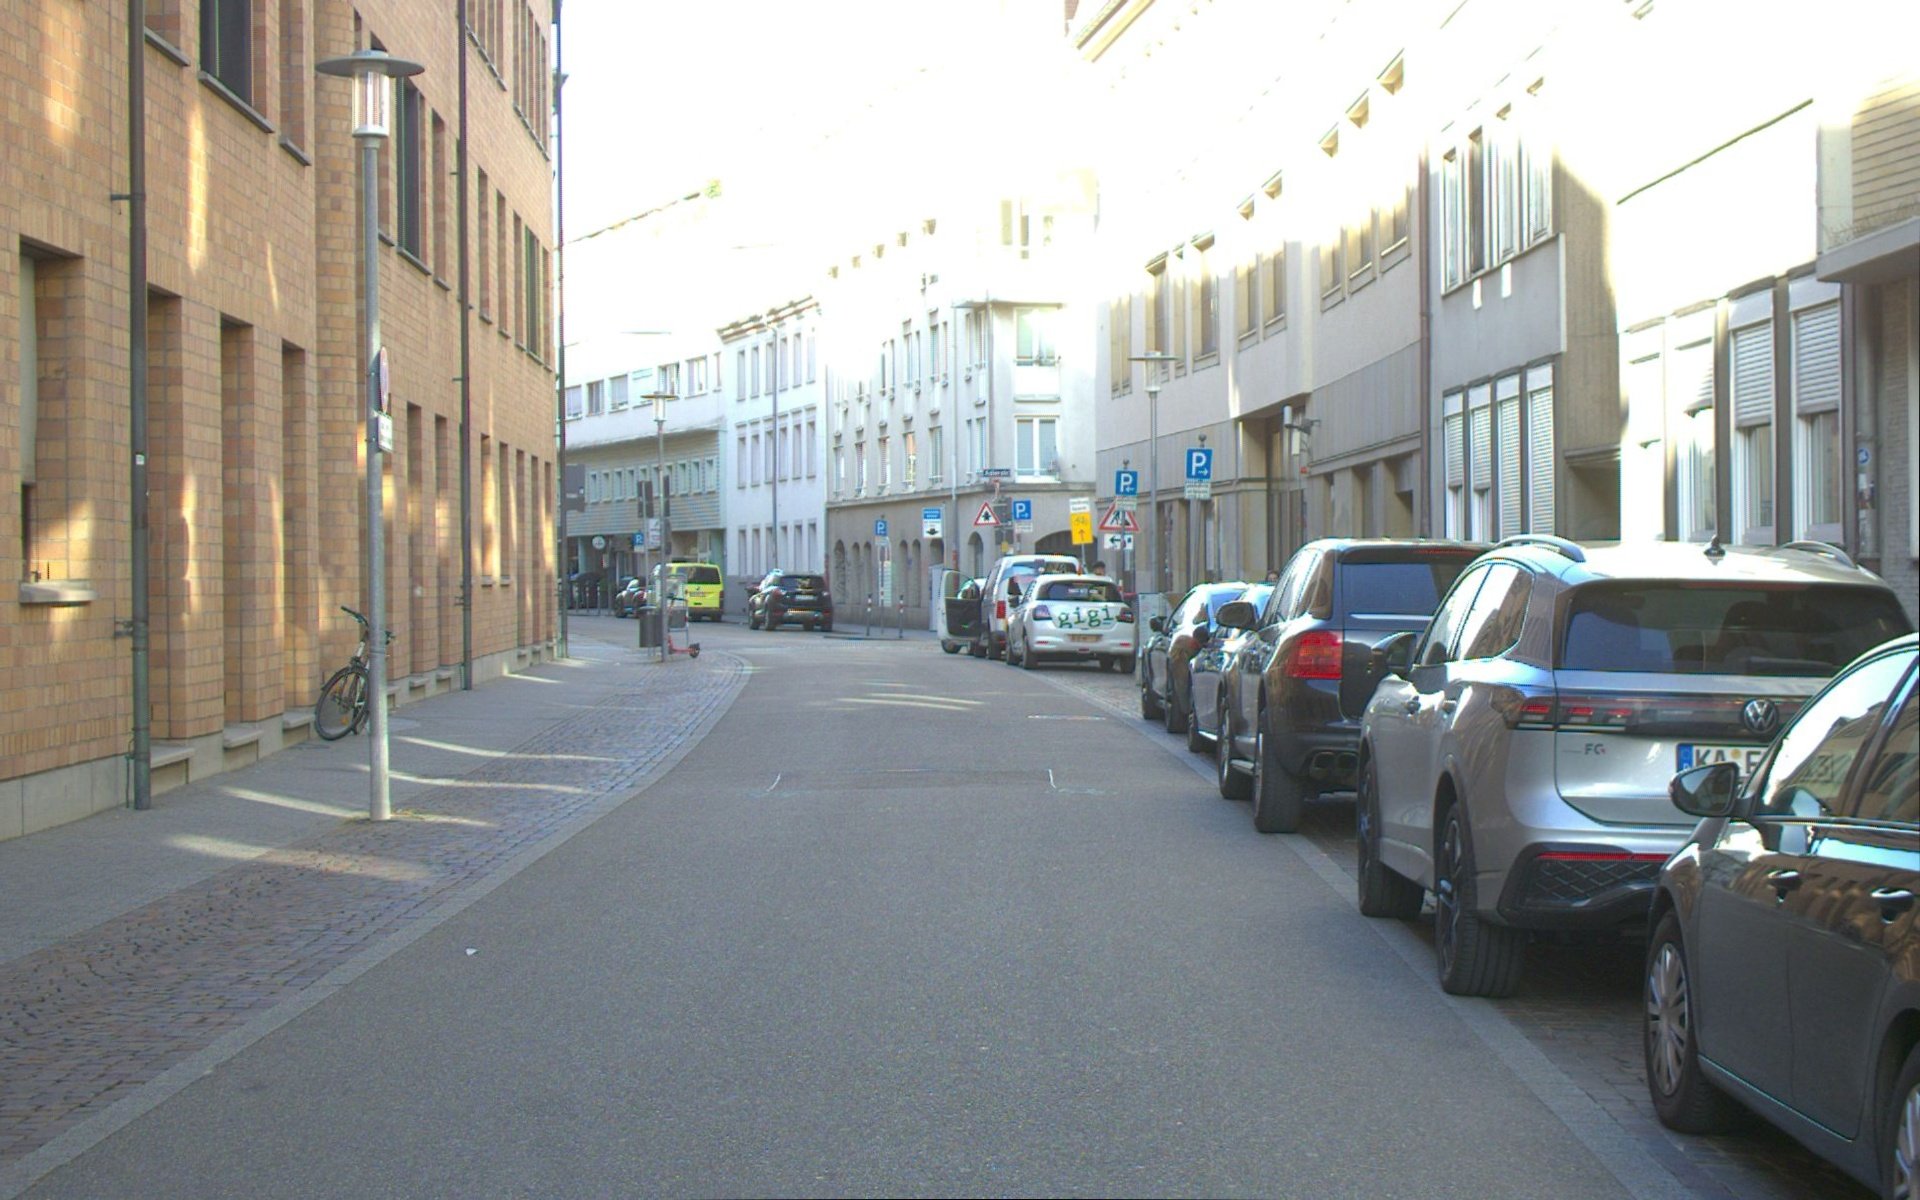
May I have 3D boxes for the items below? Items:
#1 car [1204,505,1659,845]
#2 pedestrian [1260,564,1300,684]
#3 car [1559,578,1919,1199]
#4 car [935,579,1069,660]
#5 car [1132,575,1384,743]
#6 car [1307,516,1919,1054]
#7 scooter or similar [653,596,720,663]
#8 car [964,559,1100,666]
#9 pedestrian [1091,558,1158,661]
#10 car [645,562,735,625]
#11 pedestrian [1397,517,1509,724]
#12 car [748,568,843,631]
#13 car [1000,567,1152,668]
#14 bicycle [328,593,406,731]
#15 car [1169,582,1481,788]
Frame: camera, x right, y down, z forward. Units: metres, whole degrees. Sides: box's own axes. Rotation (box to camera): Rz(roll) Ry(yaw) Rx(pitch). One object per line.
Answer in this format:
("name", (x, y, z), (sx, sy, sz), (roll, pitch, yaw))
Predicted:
("car", (2.715, 0.381, 21.014), (2.103, 1.780, 5.052), (1, 0, 1))
("pedestrian", (4.437, 0.332, 47.678), (0.481, 1.649, 0.538), (-1, 0, 11))
("car", (2.746, 0.754, 8.194), (1.823, 1.499, 4.599), (3, 1, 1))
("car", (0.770, 0.356, 66.539), (1.888, 1.513, 4.064), (1, 0, -9))
("car", (2.786, 0.504, 33.233), (1.894, 1.448, 5.226), (1, 0, -1))
("car", (2.637, 0.590, 13.612), (1.993, 1.696, 4.843), (2, 0, 0))
("scooter or similar", (-5.116, 0.545, 64.385), (0.698, 1.213, 1.355), (-1, 0, 23))
("car", (1.221, 0.207, 60.609), (1.830, 1.785, 5.214), (1, 0, -5))
("pedestrian", (2.877, 0.170, 60.238), (1.042, 1.795, 1.199), (0, 0, -5))
("car", (-8.844, -0.227, 112.339), (2.052, 2.007, 4.176), (0, 0, -17))
("pedestrian", (4.193, 0.169, 29.291), (0.788, 1.715, 0.746), (-2, 0, 0))
("car", (-4.625, -0.037, 96.230), (1.967, 1.686, 4.102), (1, 0, -12))
("car", (1.790, 0.251, 54.327), (1.840, 1.473, 4.169), (2, 0, -5))
("bicycle", (-5.378, 0.546, 31.235), (0.631, 1.158, 1.804), (3, 0, -9))
("car", (2.780, 0.603, 27.198), (1.807, 1.408, 4.790), (2, 0, -1))
